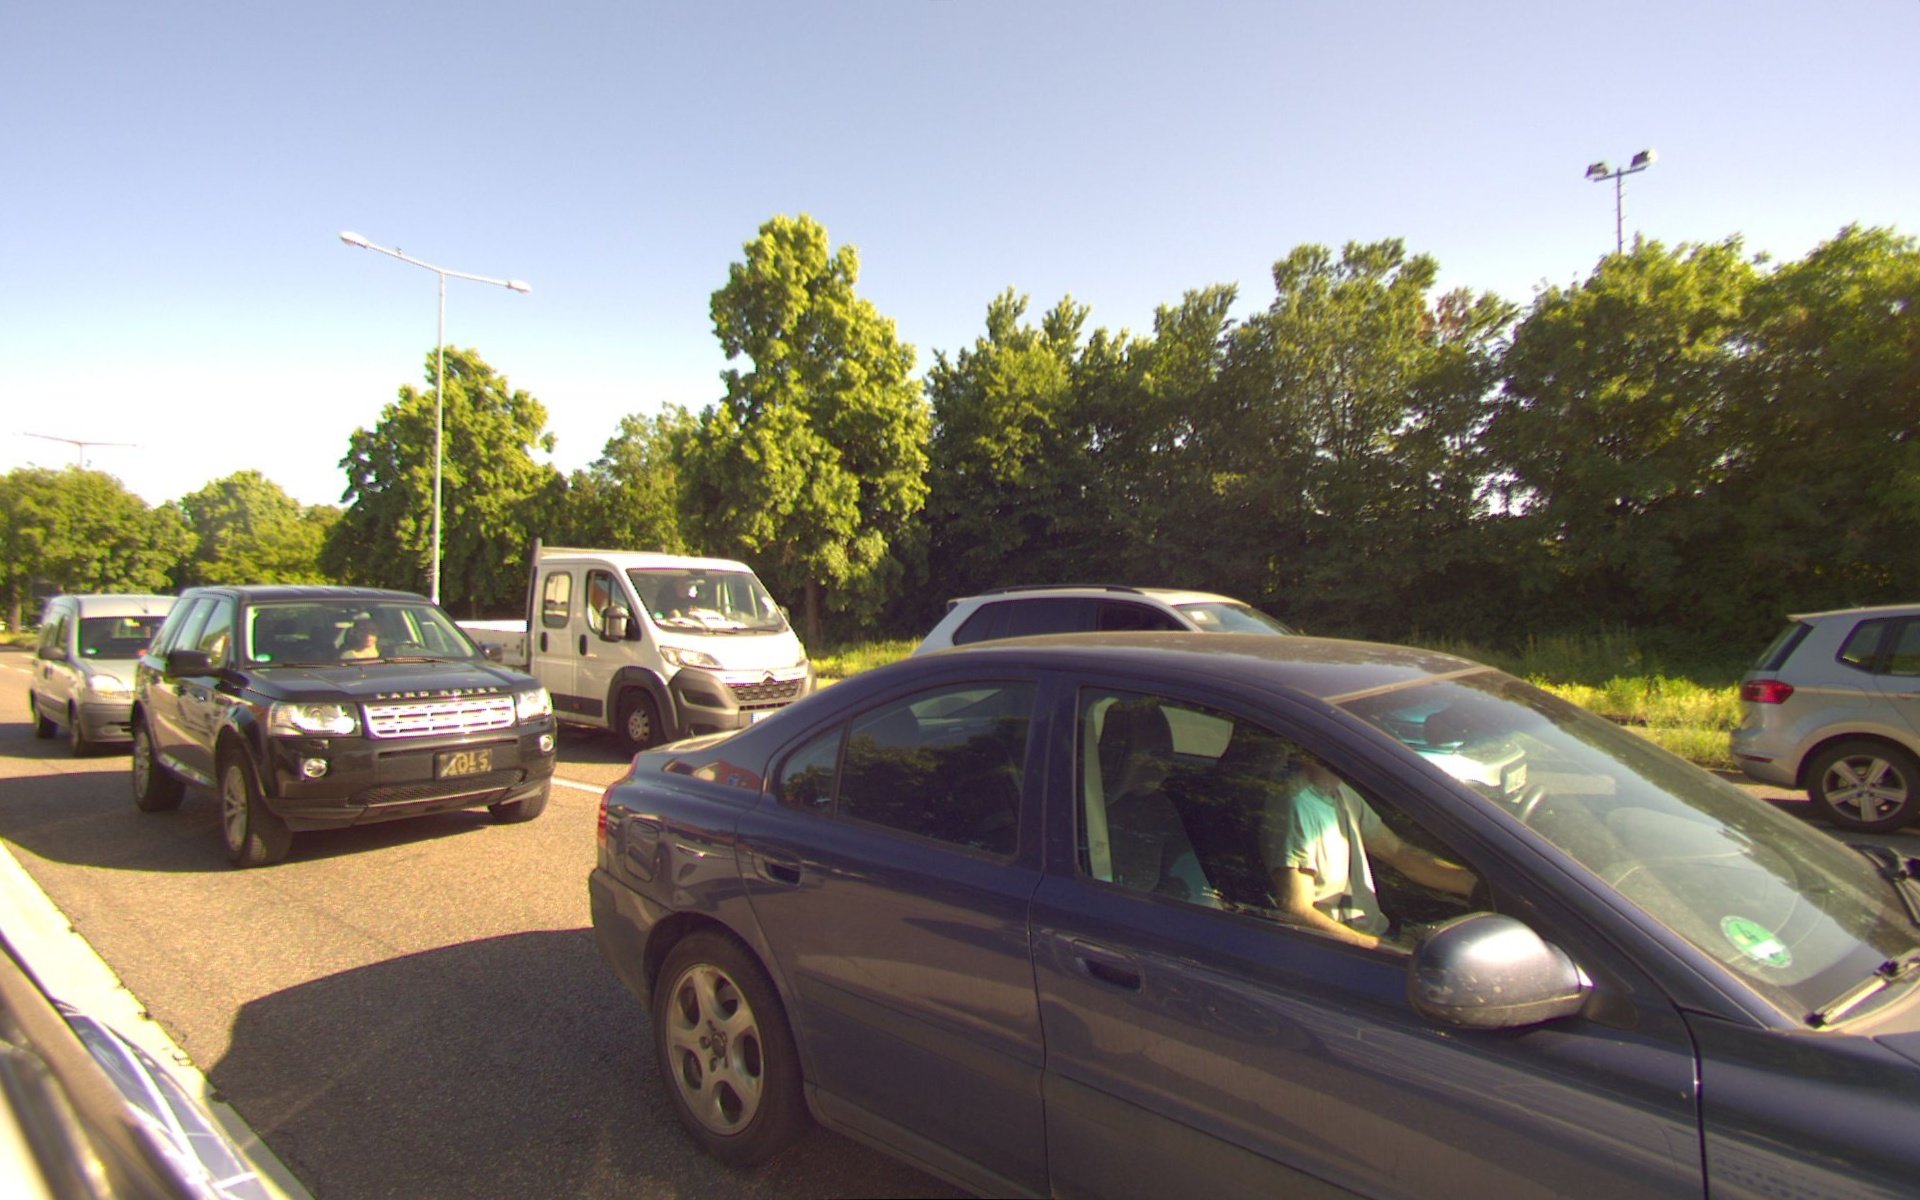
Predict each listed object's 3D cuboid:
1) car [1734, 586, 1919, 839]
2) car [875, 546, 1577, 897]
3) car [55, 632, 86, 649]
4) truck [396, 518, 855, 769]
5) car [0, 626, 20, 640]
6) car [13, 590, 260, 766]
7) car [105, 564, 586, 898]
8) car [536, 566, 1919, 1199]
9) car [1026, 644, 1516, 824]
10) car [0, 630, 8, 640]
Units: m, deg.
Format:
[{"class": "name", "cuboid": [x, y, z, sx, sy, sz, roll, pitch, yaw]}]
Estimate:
[{"class": "car", "cuboid": [7.638, 0.724, 6.411, 4.206, 1.623, 1.810, -2, -3, 42]}, {"class": "car", "cuboid": [1.640, 0.672, 7.205, 4.422, 1.723, 1.973, -2, -3, 41]}, {"class": "car", "cuboid": [-89.987, 4.069, 102.384, 3.998, 1.697, 1.854, -2, -3, 41]}, {"class": "truck", "cuboid": [-4.437, 0.443, 12.483, 6.838, 2.337, 2.158, -1, -1, 40]}, {"class": "car", "cuboid": [-123.895, 4.313, 131.732, 3.998, 1.697, 1.769, -2, -3, 41]}, {"class": "car", "cuboid": [-10.044, 0.802, 12.220, 4.384, 1.765, 1.611, -1, -1, 41]}, {"class": "car", "cuboid": [-4.688, 0.707, 7.418, 4.384, 1.744, 1.793, -1, -1, 41]}, {"class": "car", "cuboid": [0.899, 0.696, 2.423, 4.454, 1.463, 1.757, -1, 0, 41]}, {"class": "car", "cuboid": [3.038, 1.196, 10.539, 4.550, 1.440, 1.811, -2, -3, 41]}, {"class": "car", "cuboid": [-138.164, 4.990, 145.308, 3.998, 1.428, 1.769, -2, -3, 41]}]
